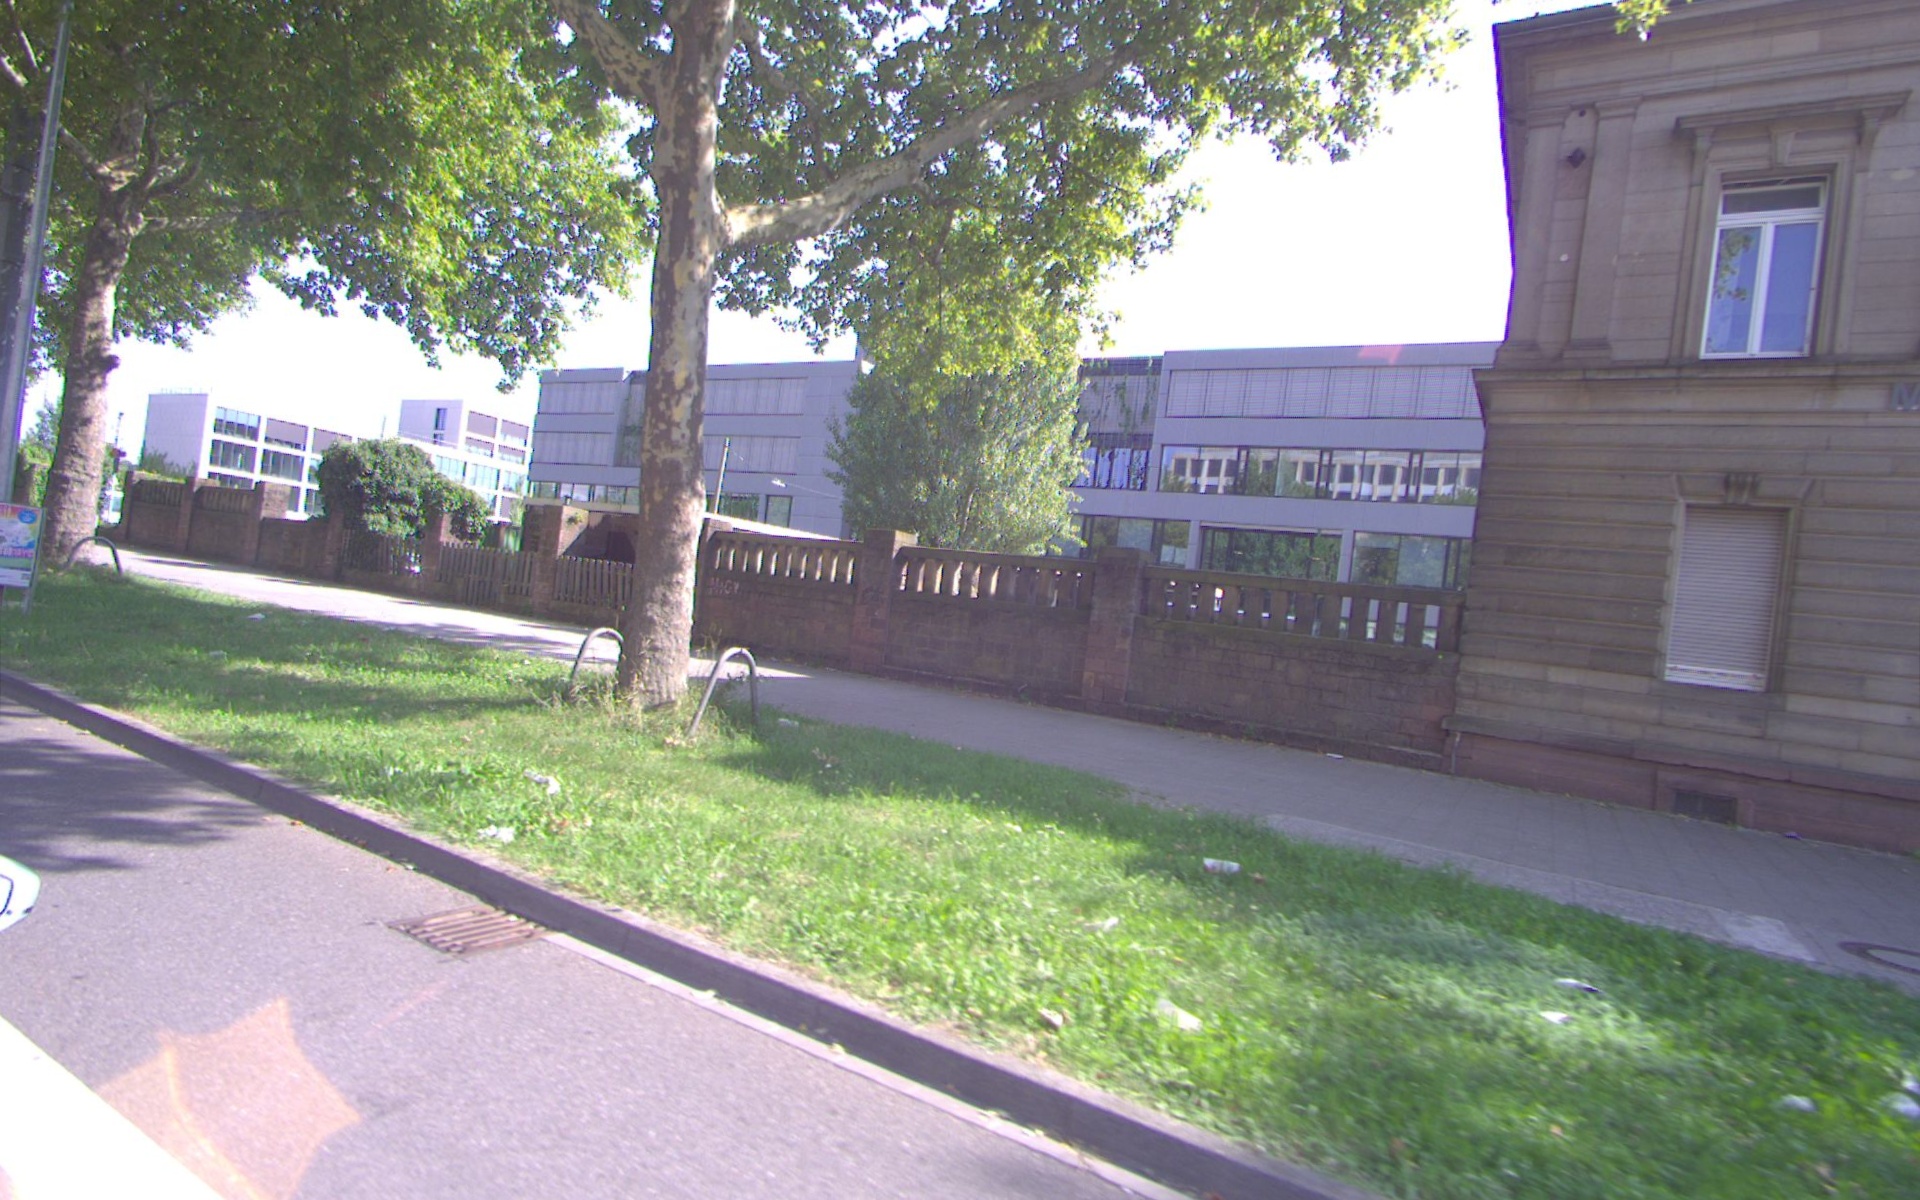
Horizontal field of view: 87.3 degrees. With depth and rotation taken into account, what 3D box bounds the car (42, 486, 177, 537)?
[{"bbox_3d":[-40.987,-4.235,48.593,1.877,1.755,4.529,7,0,29],"label":"car"}]
